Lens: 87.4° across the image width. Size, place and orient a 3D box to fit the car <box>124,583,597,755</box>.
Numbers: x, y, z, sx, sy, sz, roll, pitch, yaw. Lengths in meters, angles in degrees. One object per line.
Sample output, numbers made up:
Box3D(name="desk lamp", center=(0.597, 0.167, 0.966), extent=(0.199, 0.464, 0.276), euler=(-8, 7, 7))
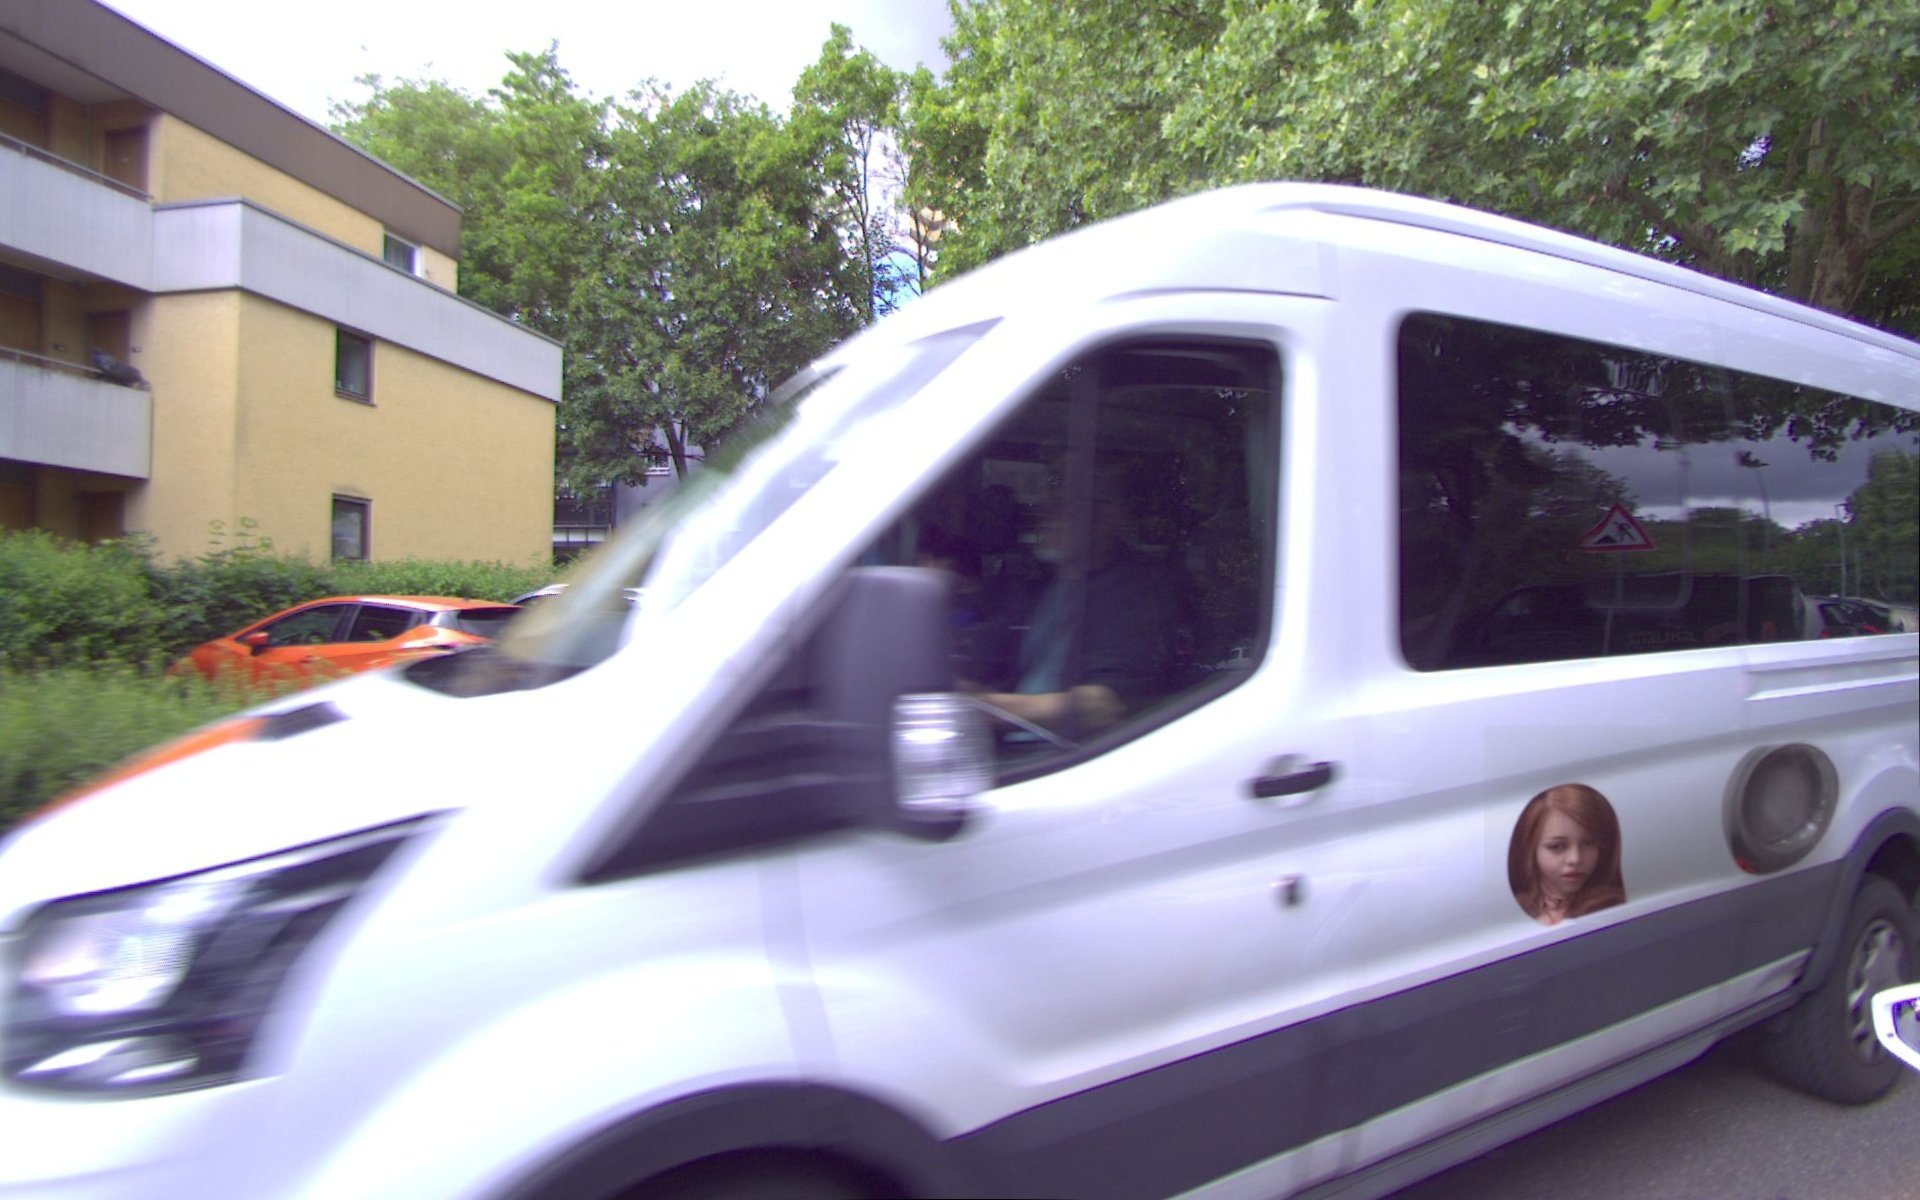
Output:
Box3D(name="car", center=(-5.889, 0.614, 10.031), extent=(3.919, 1.449, 1.751), euler=(1, -1, 13))

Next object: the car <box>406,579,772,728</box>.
Box3D(name="car", center=(-4.579, 0.607, 12.617), extent=(3.919, 1.632, 1.826), euler=(1, -1, 13))

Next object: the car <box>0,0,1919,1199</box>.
Box3D(name="car", center=(1.221, 0.241, 3.271), extent=(6.199, 2.509, 2.123), euler=(1, 0, -29))

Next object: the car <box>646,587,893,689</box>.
Box3D(name="car", center=(-3.433, 0.655, 18.333), extent=(4.032, 1.670, 1.808), euler=(1, -1, 15))
